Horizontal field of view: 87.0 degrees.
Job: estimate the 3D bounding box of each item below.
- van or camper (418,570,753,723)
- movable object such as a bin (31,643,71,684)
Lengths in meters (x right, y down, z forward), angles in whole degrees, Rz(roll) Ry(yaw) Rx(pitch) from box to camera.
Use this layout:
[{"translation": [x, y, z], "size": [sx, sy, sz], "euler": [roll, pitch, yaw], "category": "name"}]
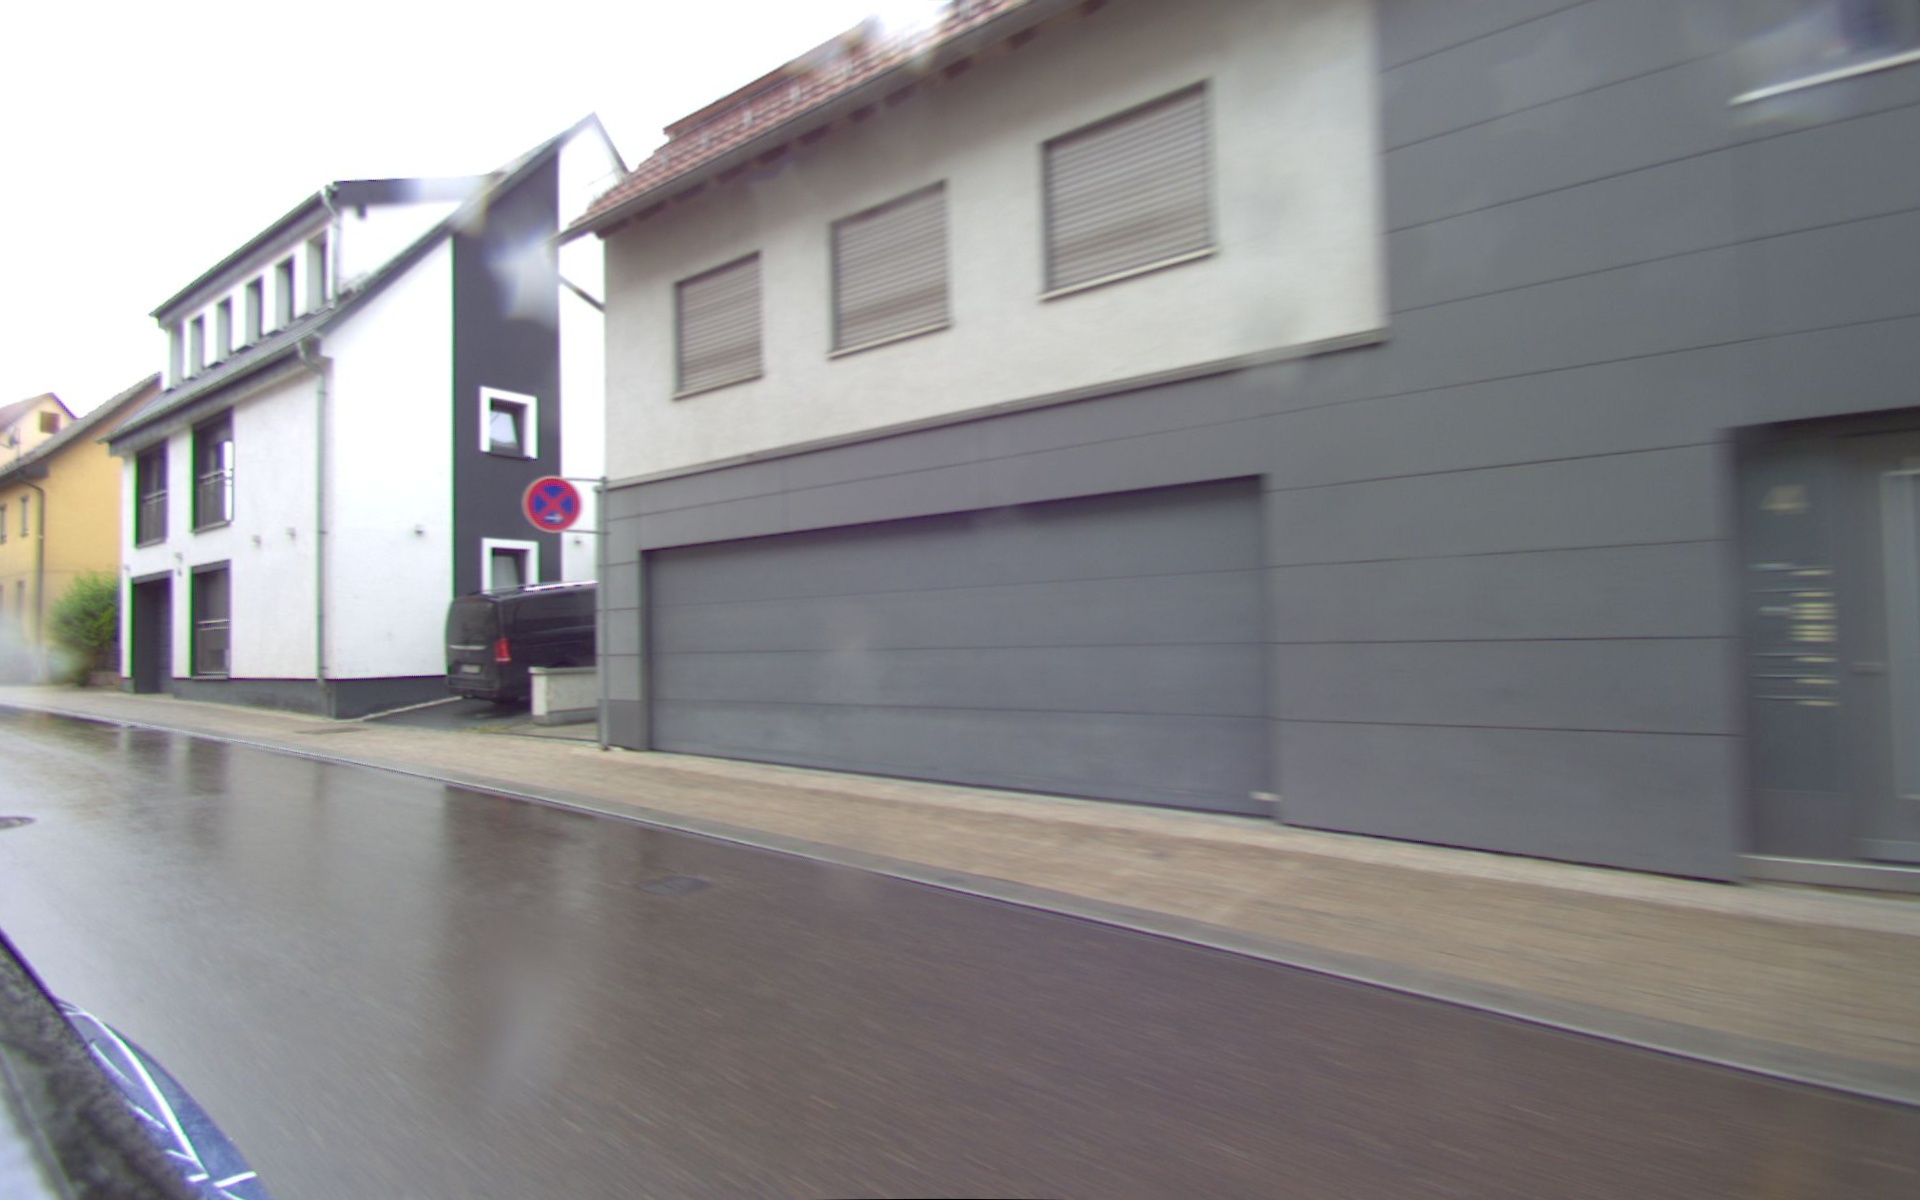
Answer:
[{"translation": [-6.130, 0.632, 17.204], "size": [1.997, 1.947, 4.979], "euler": [-1, 4, 37], "category": "van or camper"}, {"translation": [-25.236, 1.764, 28.088], "size": [0.720, 1.117, 0.651], "euler": [-1, -5, 39], "category": "movable object such as a bin"}]
